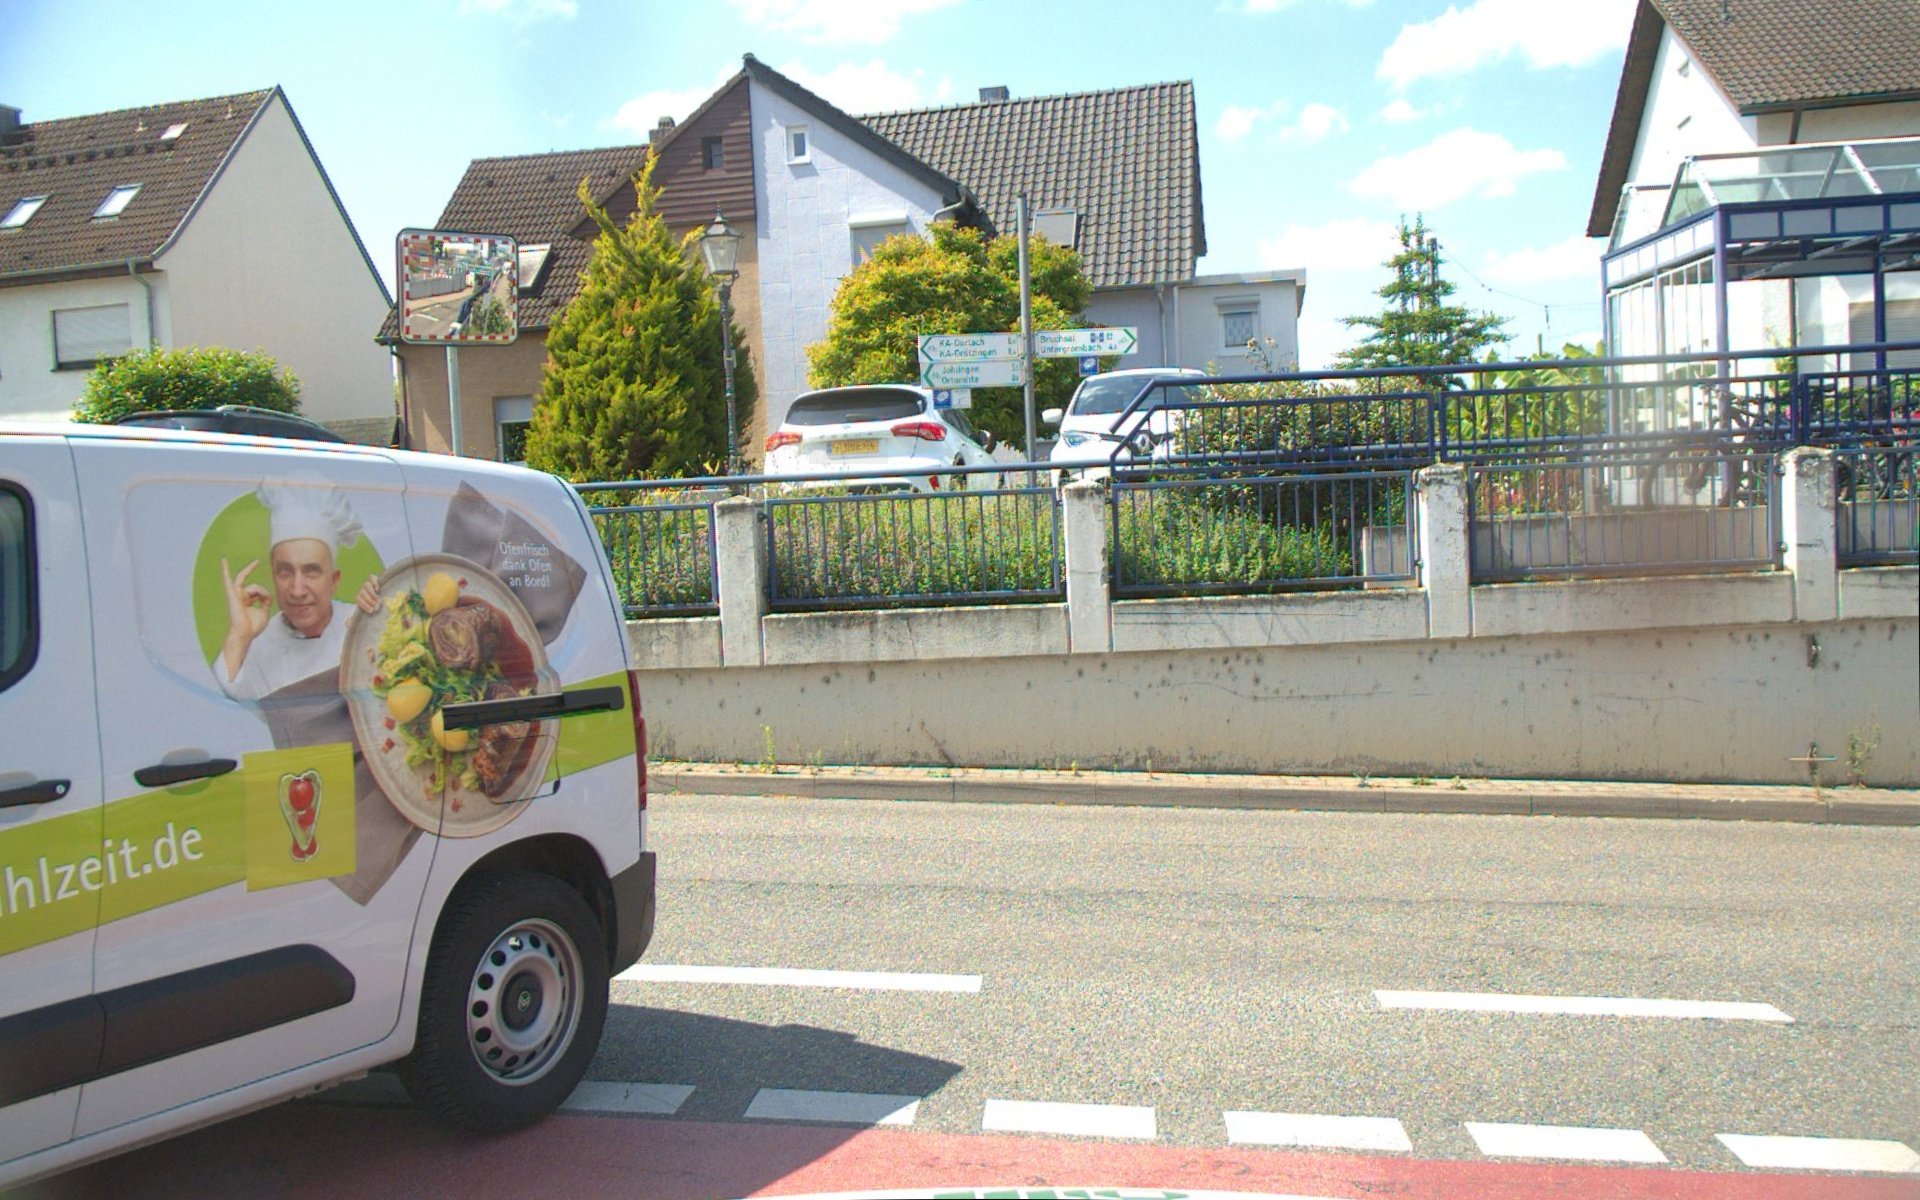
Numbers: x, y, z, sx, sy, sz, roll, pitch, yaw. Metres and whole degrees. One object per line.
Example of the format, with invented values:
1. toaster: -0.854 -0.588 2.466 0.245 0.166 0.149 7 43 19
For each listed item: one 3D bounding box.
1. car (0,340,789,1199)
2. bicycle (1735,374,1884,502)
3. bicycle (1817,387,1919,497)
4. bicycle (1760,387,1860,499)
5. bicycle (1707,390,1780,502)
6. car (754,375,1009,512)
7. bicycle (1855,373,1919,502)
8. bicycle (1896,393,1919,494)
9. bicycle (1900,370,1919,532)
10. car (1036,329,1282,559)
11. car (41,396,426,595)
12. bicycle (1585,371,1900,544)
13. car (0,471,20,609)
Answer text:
1. car: -2.491 0.423 3.687 1.779 1.887 4.549 2 2 32
2. bicycle: 7.422 -1.385 14.544 0.325 1.012 2.077 -2 3 3
3. bicycle: 9.102 -1.552 16.605 0.365 1.012 1.968 -1 3 12
4. bicycle: 8.329 -1.506 16.266 0.365 1.012 1.968 -1 3 12
5. bicycle: 7.641 -1.475 16.181 0.446 1.012 1.889 -1 3 20
6. car: -0.638 -1.446 15.944 1.786 1.037 3.462 1 1 9
7. bicycle: 8.043 -1.351 14.053 0.426 1.012 2.103 -1 3 19
8. bicycle: 9.797 -1.567 16.352 0.365 1.012 1.968 -1 3 12
9. bicycle: 7.866 -1.099 11.795 2.071 1.145 0.393 -2 2 2
10. car: 1.930 -1.336 15.574 1.951 1.828 4.200 1 1 9
11. car: -7.448 -1.017 17.440 1.827 1.828 4.004 1 1 9
12. bicycle: 5.609 -1.016 11.887 2.071 1.145 0.333 -2 2 2
13. car: -12.319 -0.691 17.930 1.827 1.614 3.613 1 1 9
